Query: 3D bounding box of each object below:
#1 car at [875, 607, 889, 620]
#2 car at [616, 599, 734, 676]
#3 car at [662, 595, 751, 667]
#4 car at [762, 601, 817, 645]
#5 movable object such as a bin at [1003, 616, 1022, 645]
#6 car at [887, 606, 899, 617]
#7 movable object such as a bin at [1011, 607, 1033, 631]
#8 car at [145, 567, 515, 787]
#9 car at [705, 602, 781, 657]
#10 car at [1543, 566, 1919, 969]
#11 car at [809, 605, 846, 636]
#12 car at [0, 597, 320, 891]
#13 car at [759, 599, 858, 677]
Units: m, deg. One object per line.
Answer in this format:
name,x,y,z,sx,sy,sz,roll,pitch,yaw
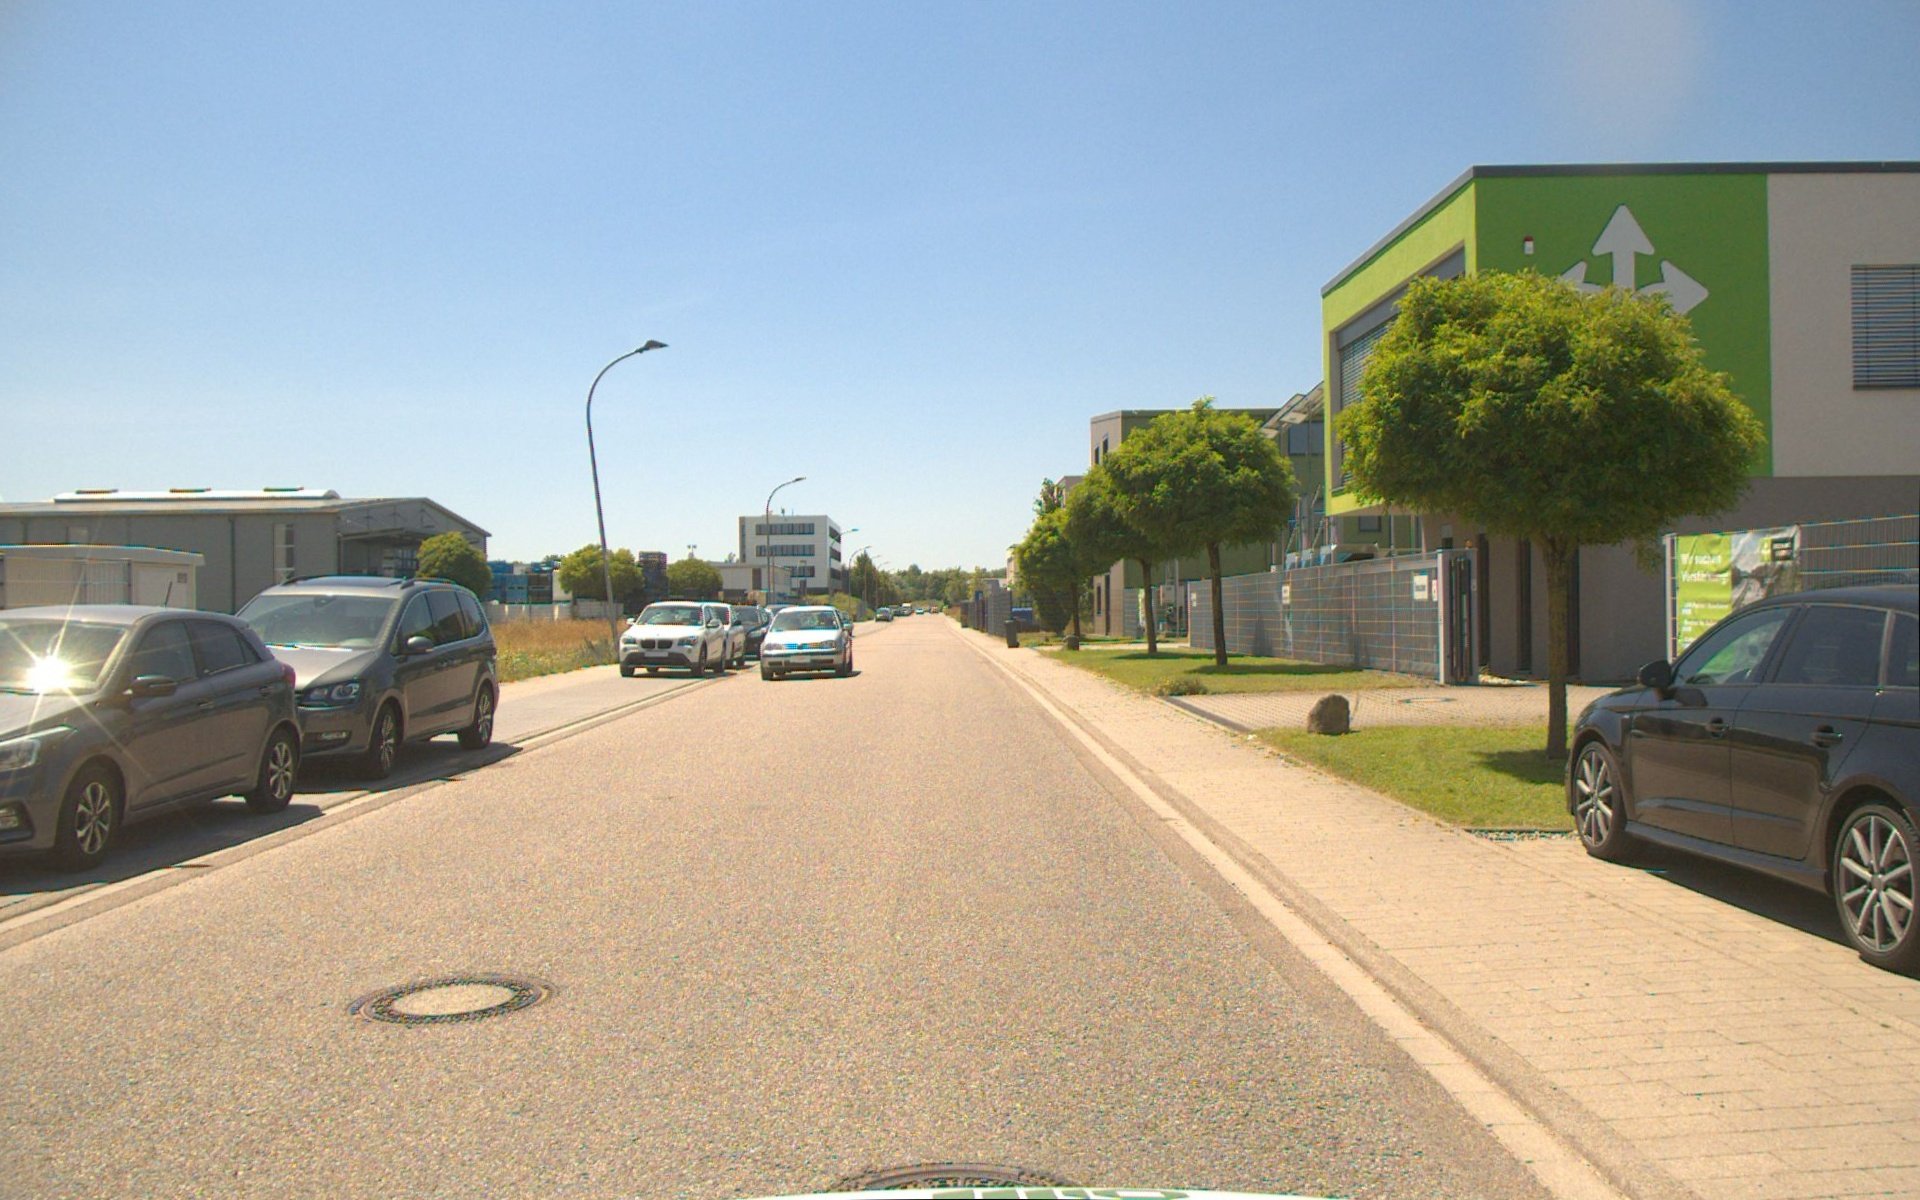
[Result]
car,-9.107,1.573,192.826,1.437,1.516,3.206,-1,0,-1
car,-6.101,0.774,35.841,1.750,1.569,4.364,0,0,1
car,-6.227,0.746,41.004,1.751,1.685,3.767,0,0,-2
car,-6.520,0.880,63.614,1.754,1.635,4.461,0,0,-2
movable object such as a bin,1.797,1.027,56.670,0.540,0.944,0.522,-5,-1,9
car,-10.001,1.722,247.789,1.611,1.516,3.206,-1,0,-1
movable object such as a bin,3.879,1.186,103.358,1.307,1.485,0.948,-1,-1,-2
car,-5.677,0.616,15.582,1.766,1.750,4.621,0,0,-1
car,-6.287,0.832,48.259,1.727,1.544,4.378,0,0,-2
car,4.259,0.602,7.510,1.658,1.453,4.245,0,0,-1
car,-6.968,1.077,87.329,1.733,1.620,4.358,0,-1,-2
car,-5.671,0.745,10.591,1.601,1.526,3.971,0,0,0
car,-3.112,0.734,34.773,1.670,1.436,4.783,-3,0,-1
